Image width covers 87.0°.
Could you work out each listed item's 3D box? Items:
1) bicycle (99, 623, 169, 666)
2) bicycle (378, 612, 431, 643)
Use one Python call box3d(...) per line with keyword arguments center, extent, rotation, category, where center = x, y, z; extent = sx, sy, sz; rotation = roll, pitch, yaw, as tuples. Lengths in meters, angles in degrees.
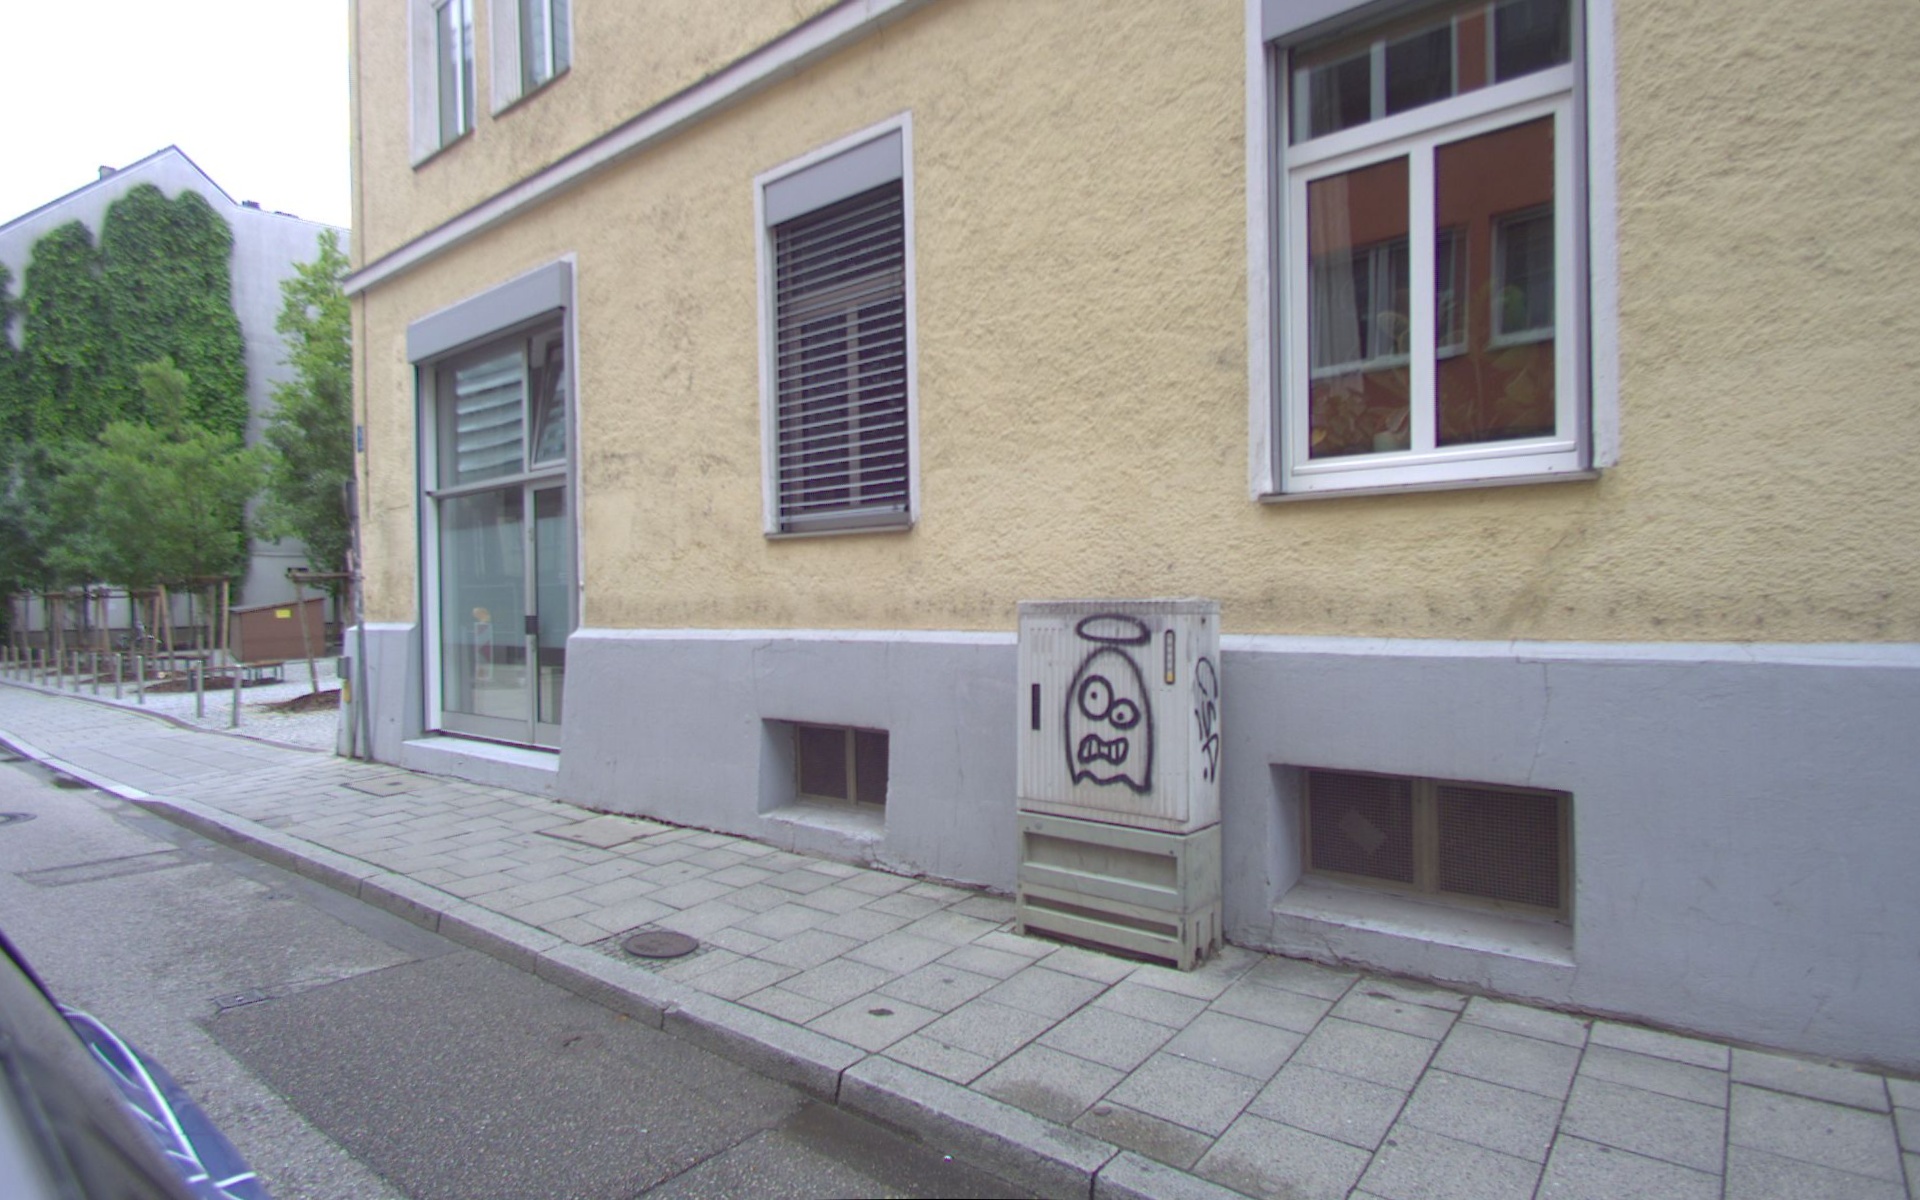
box3d(center=(-24.633, 1.330, 30.171), extent=(1.984, 1.217, 0.709), rotation=(-1, 1, 22), category="bicycle")
box3d(center=(-21.740, 1.081, 39.604), extent=(0.603, 1.151, 1.701), rotation=(-1, 0, 45), category="bicycle")
